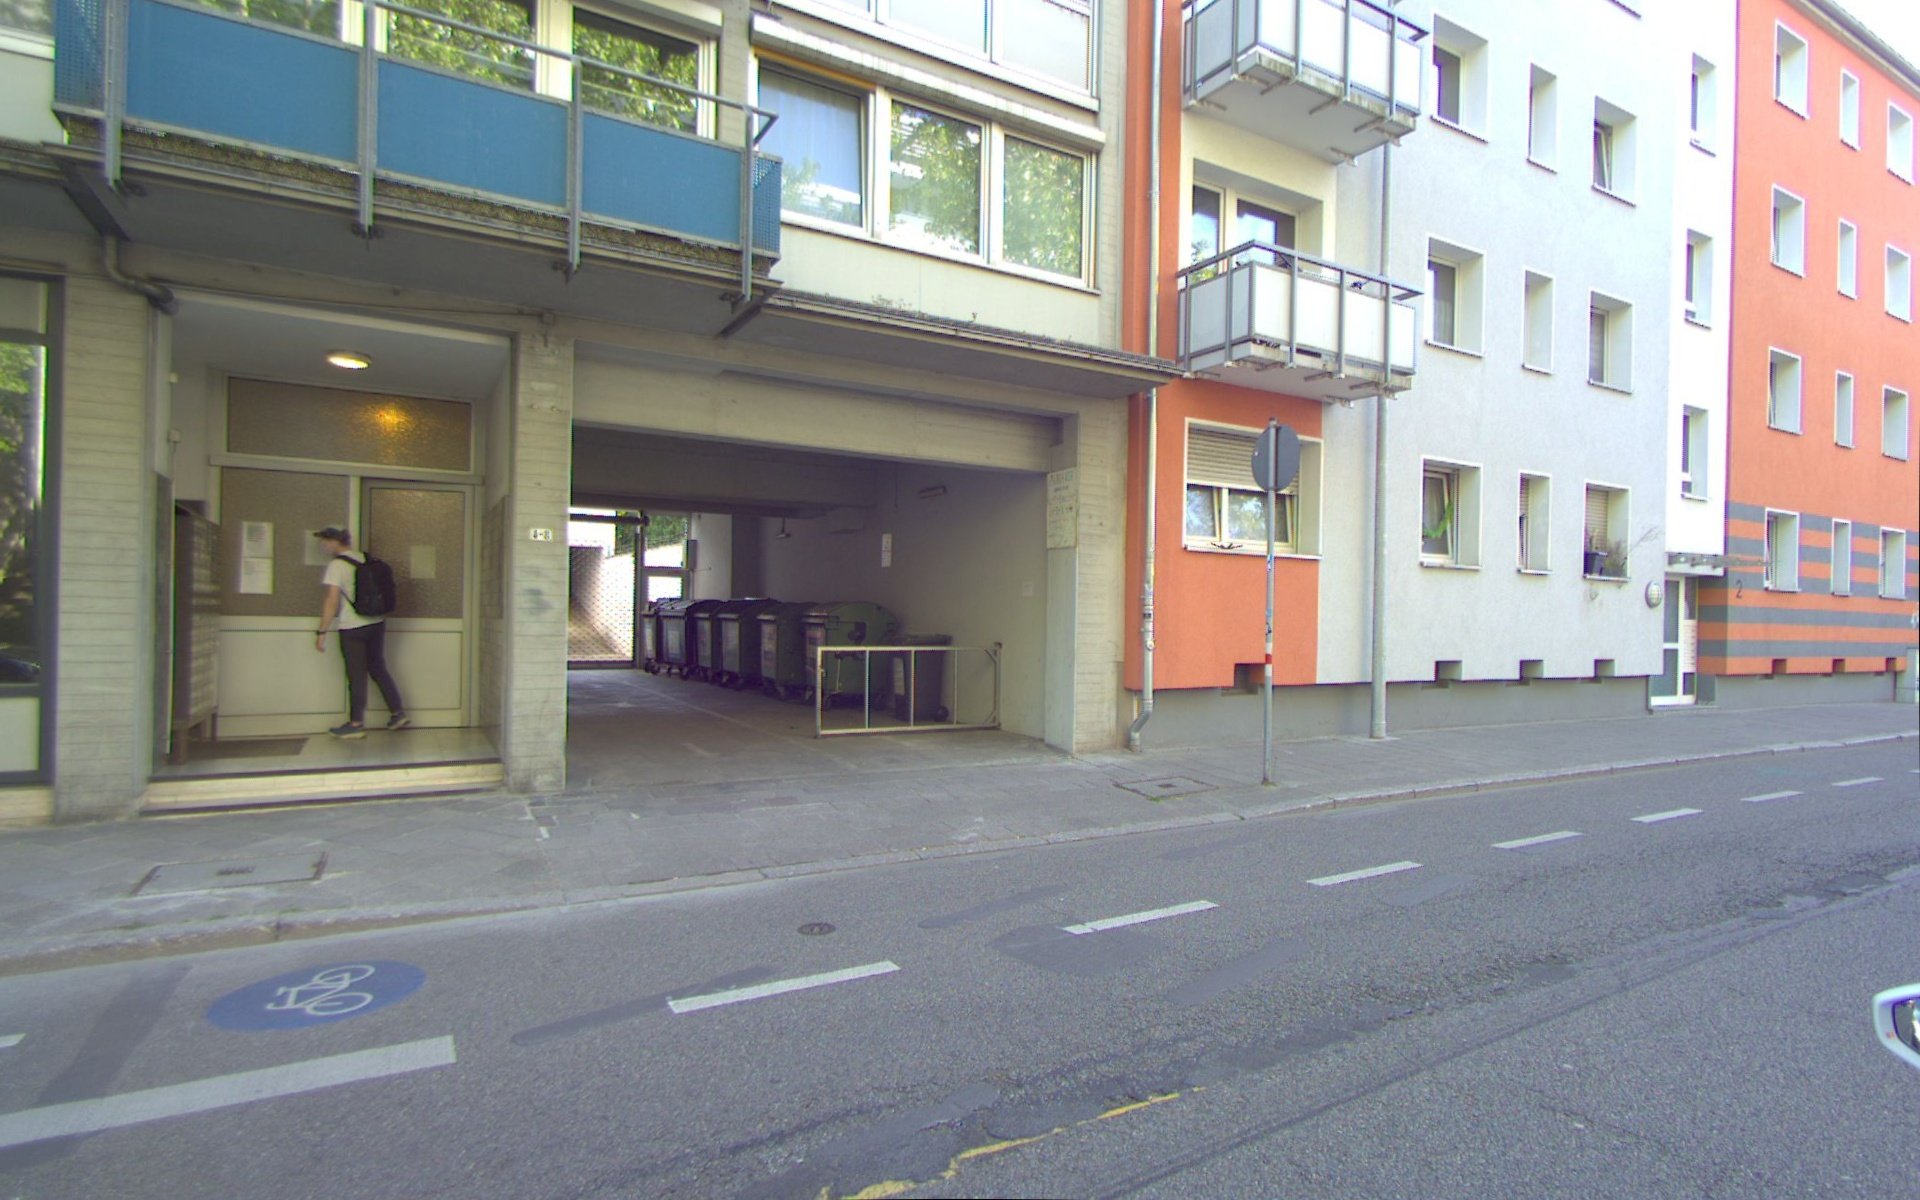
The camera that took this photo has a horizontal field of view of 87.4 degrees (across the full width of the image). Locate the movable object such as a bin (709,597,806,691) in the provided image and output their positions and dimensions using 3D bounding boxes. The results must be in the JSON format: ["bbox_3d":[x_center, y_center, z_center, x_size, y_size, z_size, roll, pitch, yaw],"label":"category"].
[{"bbox_3d":[-3.367,0.702,16.620,1.186,1.467,1.319,2,0,-30],"label":"movable object such as a bin"}]

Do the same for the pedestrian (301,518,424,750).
[{"bbox_3d":[-5.137,0.290,8.677,0.775,1.904,0.579,2,0,-21],"label":"pedestrian"}]

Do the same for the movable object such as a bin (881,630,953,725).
[{"bbox_3d":[-0.532,0.943,12.410,0.745,1.116,0.463,2,0,-30],"label":"movable object such as a bin"}]

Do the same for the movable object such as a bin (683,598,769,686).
[{"bbox_3d":[-4.137,0.722,17.711,1.186,1.467,1.114,2,0,-30],"label":"movable object such as a bin"}]

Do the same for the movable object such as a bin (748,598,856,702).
[{"bbox_3d":[-2.400,0.724,15.136,1.186,1.467,1.319,2,0,-30],"label":"movable object such as a bin"}]

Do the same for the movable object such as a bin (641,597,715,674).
[{"bbox_3d":[-5.612,0.688,19.983,1.186,1.467,1.027,2,0,-30],"label":"movable object such as a bin"}]

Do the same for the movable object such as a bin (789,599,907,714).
[{"bbox_3d":[-1.560,0.743,13.802,1.159,1.467,1.319,2,0,-30],"label":"movable object such as a bin"}]

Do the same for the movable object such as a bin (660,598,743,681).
[{"bbox_3d":[-4.837,0.724,18.753,1.186,1.467,1.222,2,0,-30],"label":"movable object such as a bin"}]
